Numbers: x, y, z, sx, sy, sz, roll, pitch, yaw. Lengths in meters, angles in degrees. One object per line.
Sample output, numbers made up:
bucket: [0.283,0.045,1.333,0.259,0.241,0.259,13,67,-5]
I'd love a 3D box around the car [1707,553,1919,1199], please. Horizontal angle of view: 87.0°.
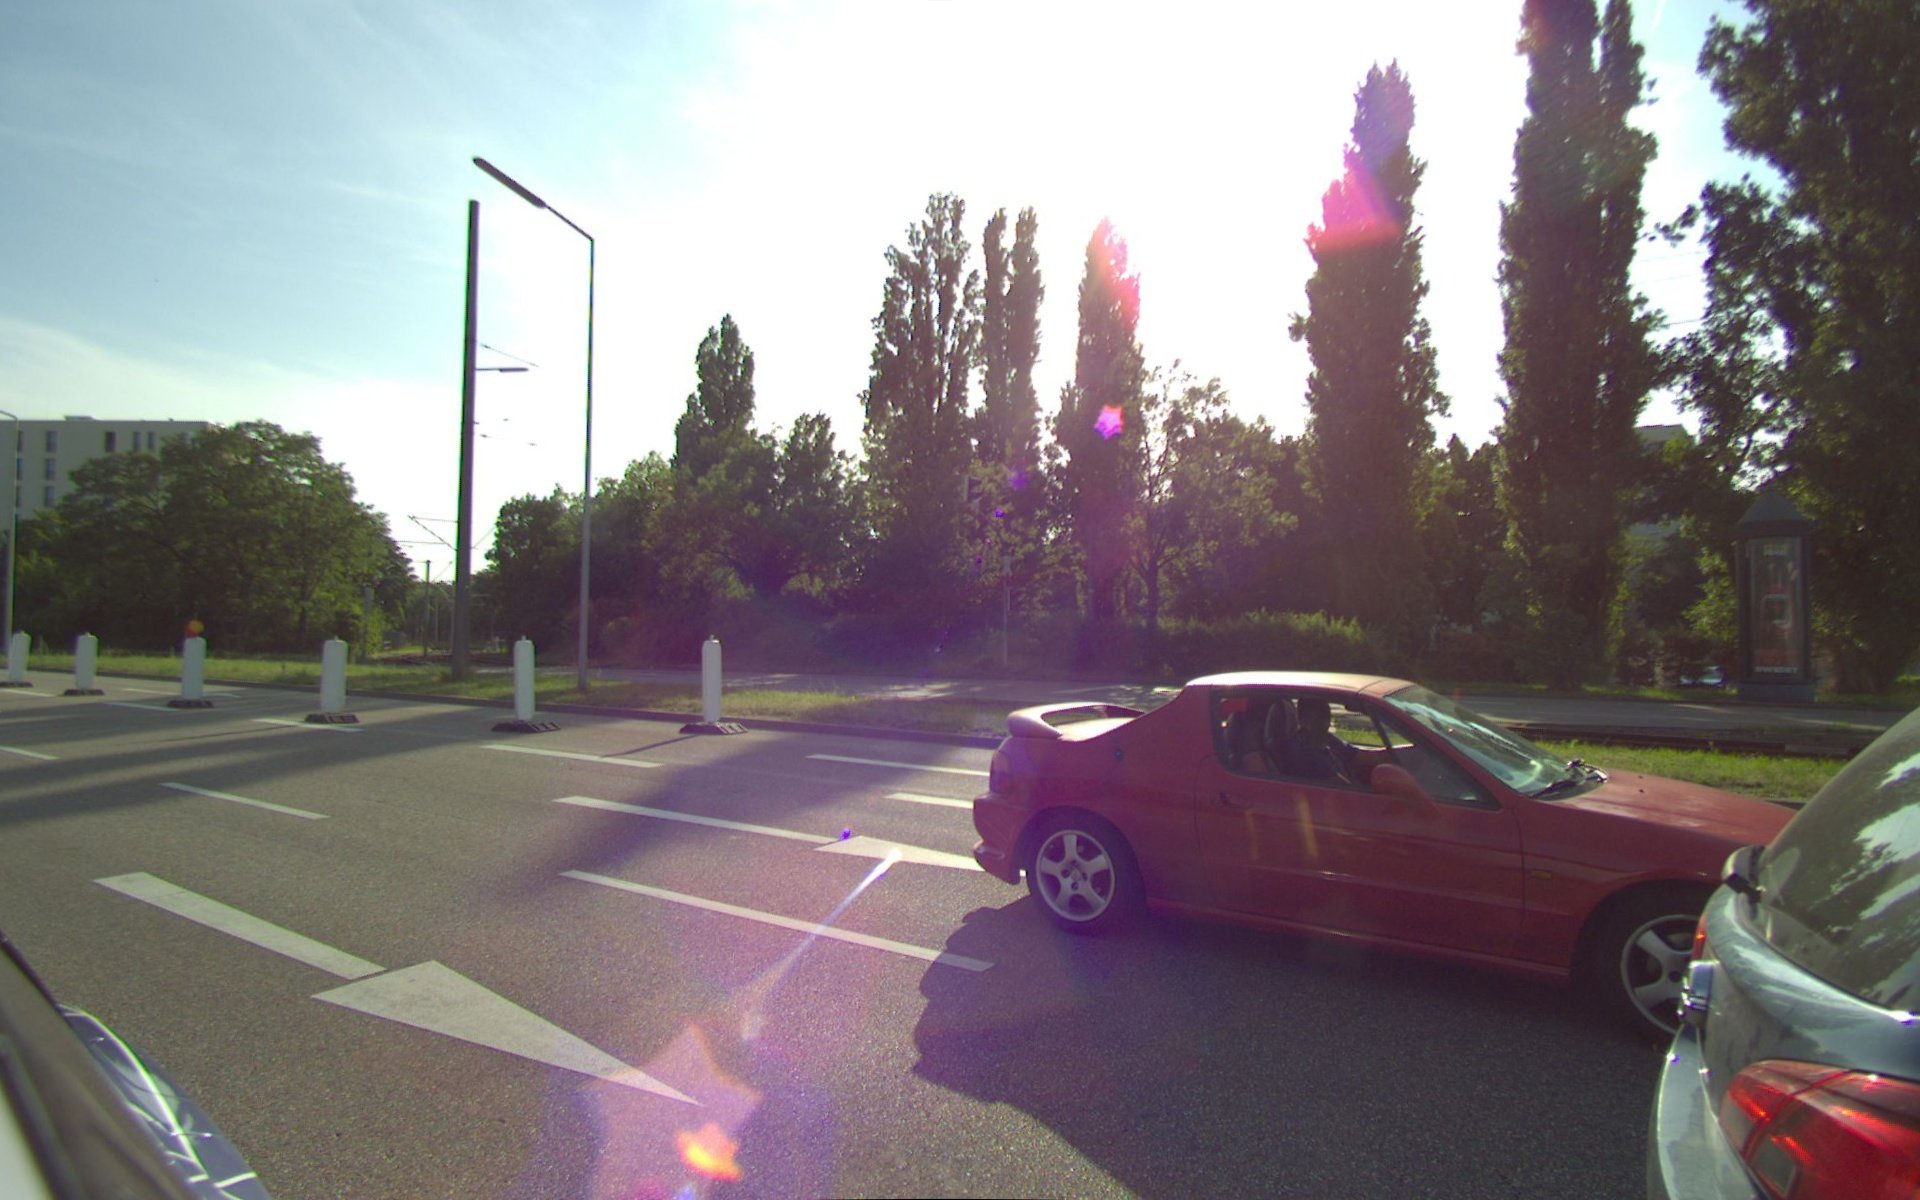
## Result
car: [2.994,0.702,0.396,4.211,1.517,1.727,-2,-3,34]

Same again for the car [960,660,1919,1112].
car: [2.058,0.941,4.587,3.837,1.216,1.716,-1,-1,35]
